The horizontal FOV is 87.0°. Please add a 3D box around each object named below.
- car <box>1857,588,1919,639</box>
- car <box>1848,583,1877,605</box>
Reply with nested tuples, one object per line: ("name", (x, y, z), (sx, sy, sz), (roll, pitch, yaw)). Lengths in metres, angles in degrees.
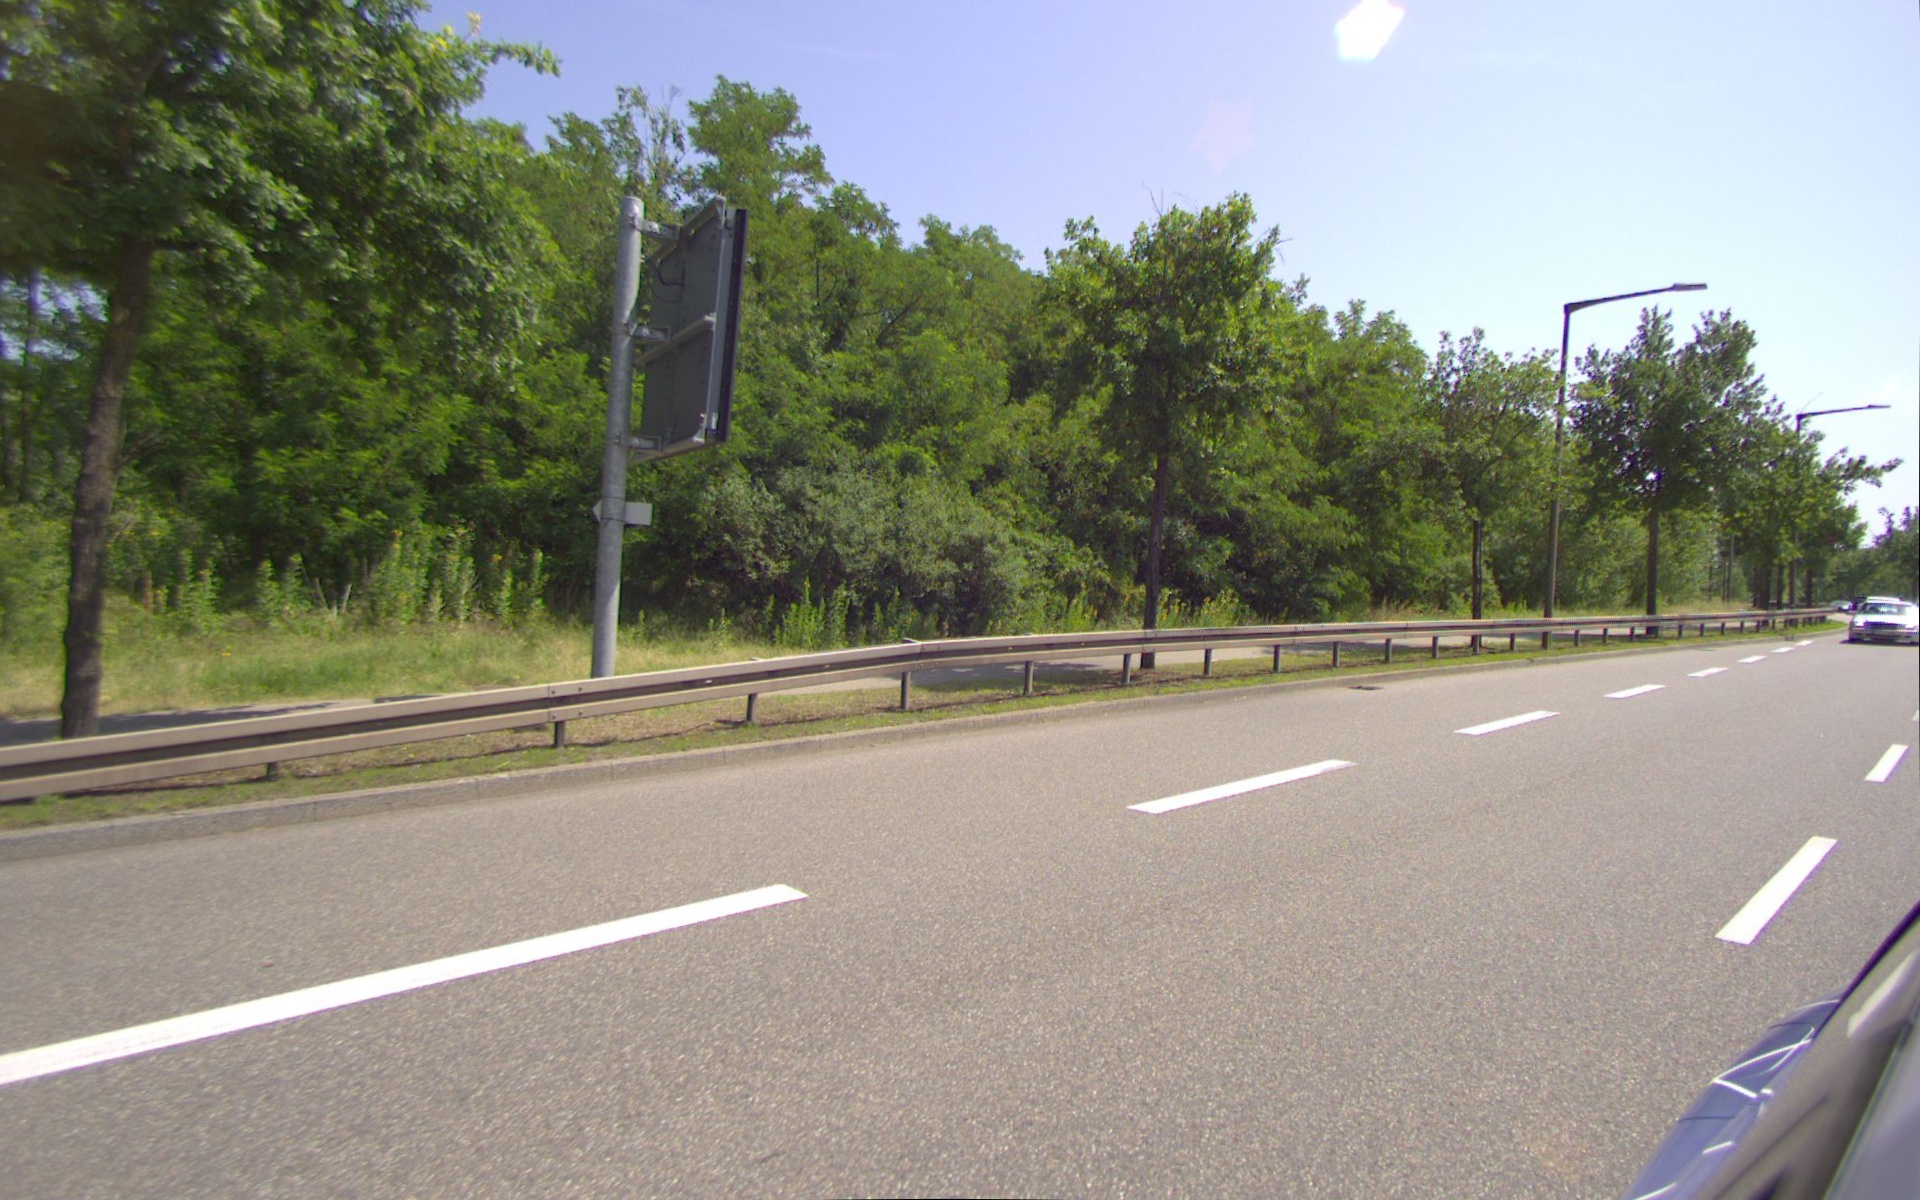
("car", (30.783, 0.406, 33.094), (4.162, 1.517, 1.761), (0, 3, -43))
("car", (82.552, -0.520, 92.605), (1.807, 1.780, 4.188), (7, 4, 41))
